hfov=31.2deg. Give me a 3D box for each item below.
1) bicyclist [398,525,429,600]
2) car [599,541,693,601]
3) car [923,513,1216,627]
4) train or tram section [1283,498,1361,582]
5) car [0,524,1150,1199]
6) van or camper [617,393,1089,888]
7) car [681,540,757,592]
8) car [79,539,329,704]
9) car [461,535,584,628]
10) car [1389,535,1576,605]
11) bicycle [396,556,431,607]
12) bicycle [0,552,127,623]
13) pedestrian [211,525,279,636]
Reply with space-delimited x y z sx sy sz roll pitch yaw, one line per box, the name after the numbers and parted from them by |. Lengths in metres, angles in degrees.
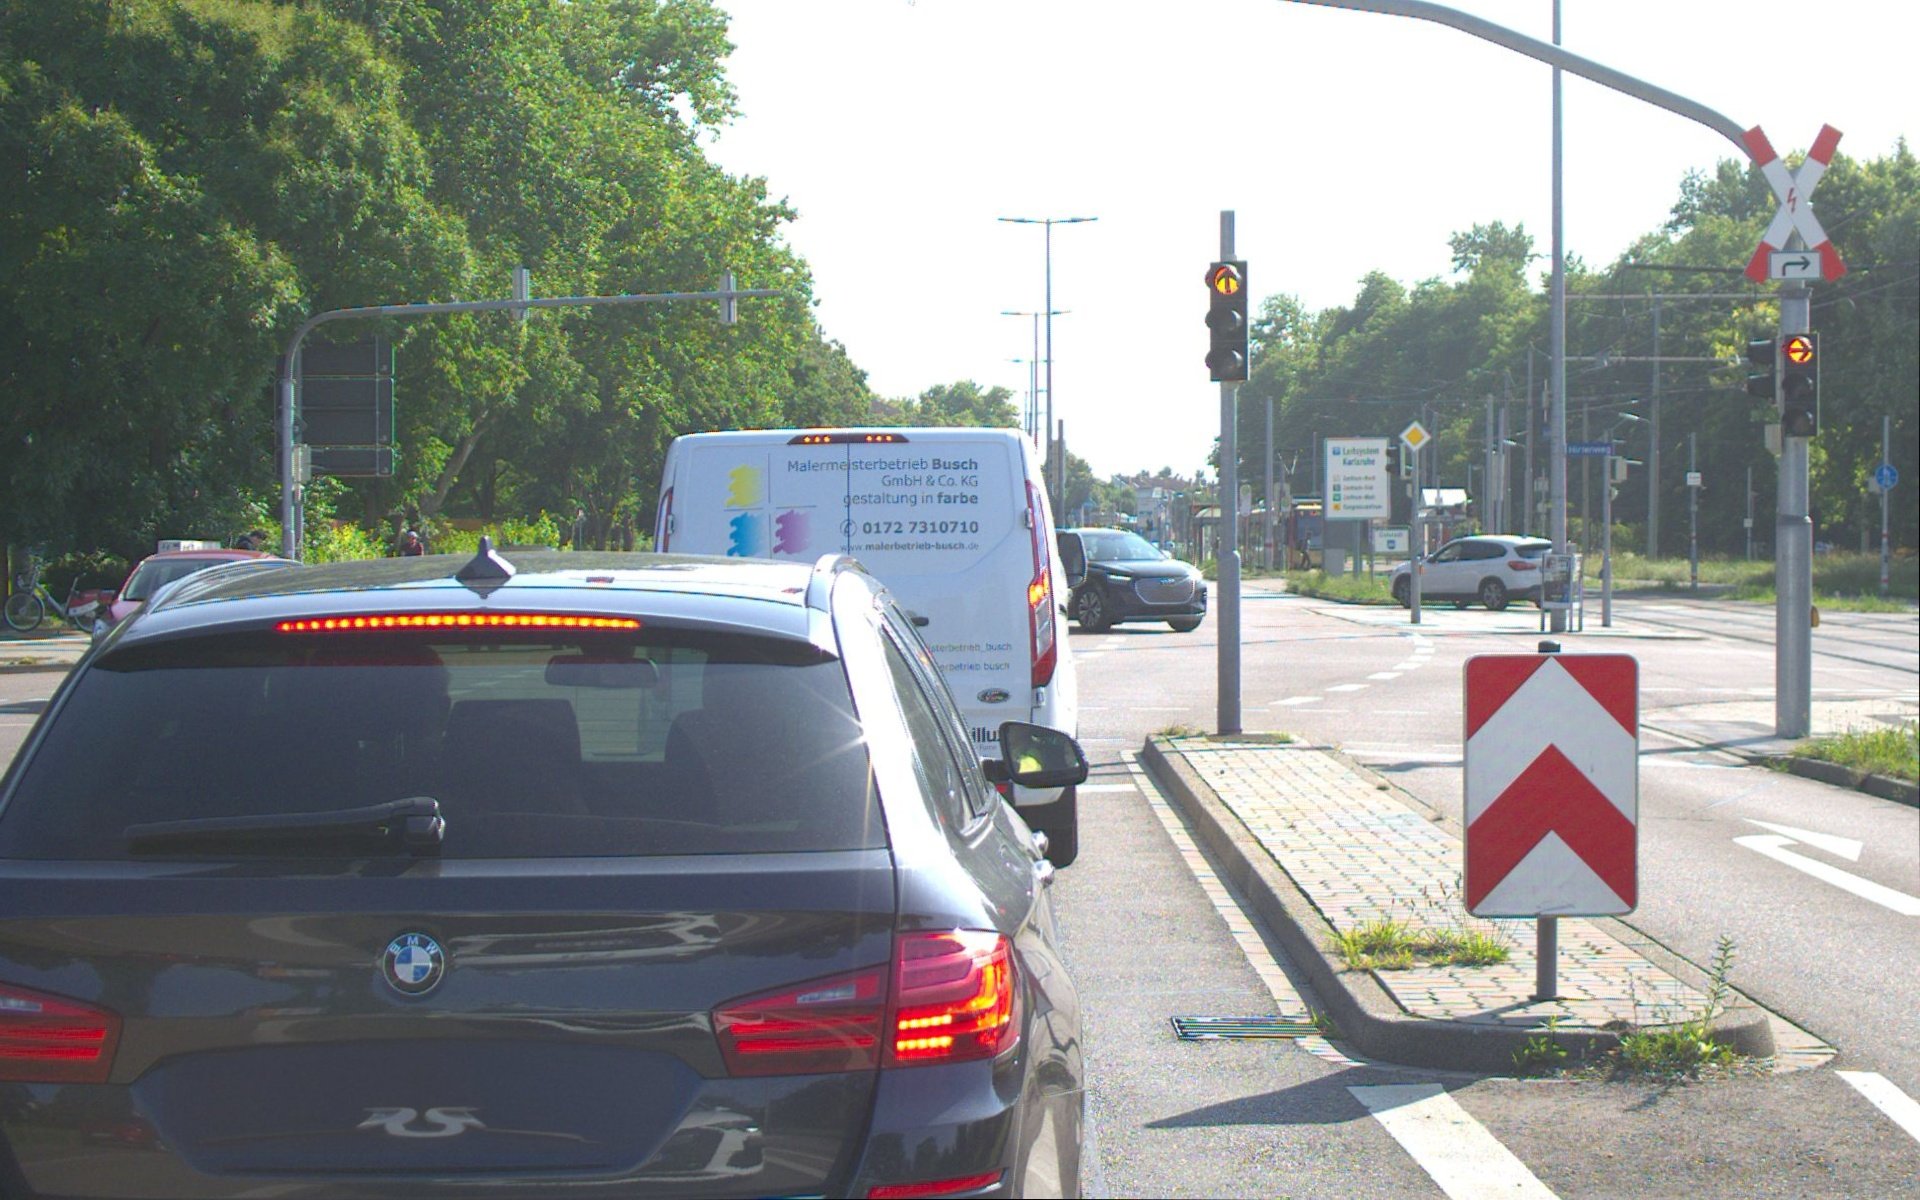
-11.452 -0.782 72.092 0.607 1.555 0.603 1 1 -6 | bicyclist
-7.519 -0.720 82.643 1.779 1.410 4.245 0 1 2 | car
1.674 -0.479 53.897 4.619 1.716 1.645 0 1 42 | car
16.191 -2.637 154.471 2.796 3.606 12.954 1 1 3 | train or tram section
-0.724 0.614 6.445 1.903 1.500 4.065 0 1 0 | car
-0.416 0.126 16.831 1.993 2.089 4.598 0 1 1 | van or camper
-7.189 -1.030 103.048 1.702 1.460 4.369 -1 1 3 | car
-7.340 0.166 33.690 1.694 1.493 3.676 -1 1 -1 | car
-7.717 -0.353 60.933 1.633 1.555 3.676 -2 1 1 | car
11.366 -0.675 75.000 1.793 1.481 3.899 -1 1 -37 | car
-11.443 -0.401 72.045 0.619 1.037 2.072 0 1 -6 | bicycle
-14.273 -0.195 54.651 1.909 1.115 0.632 0 1 0 | bicycle
-11.326 -0.313 54.488 0.816 1.746 0.931 0 1 5 | pedestrian
